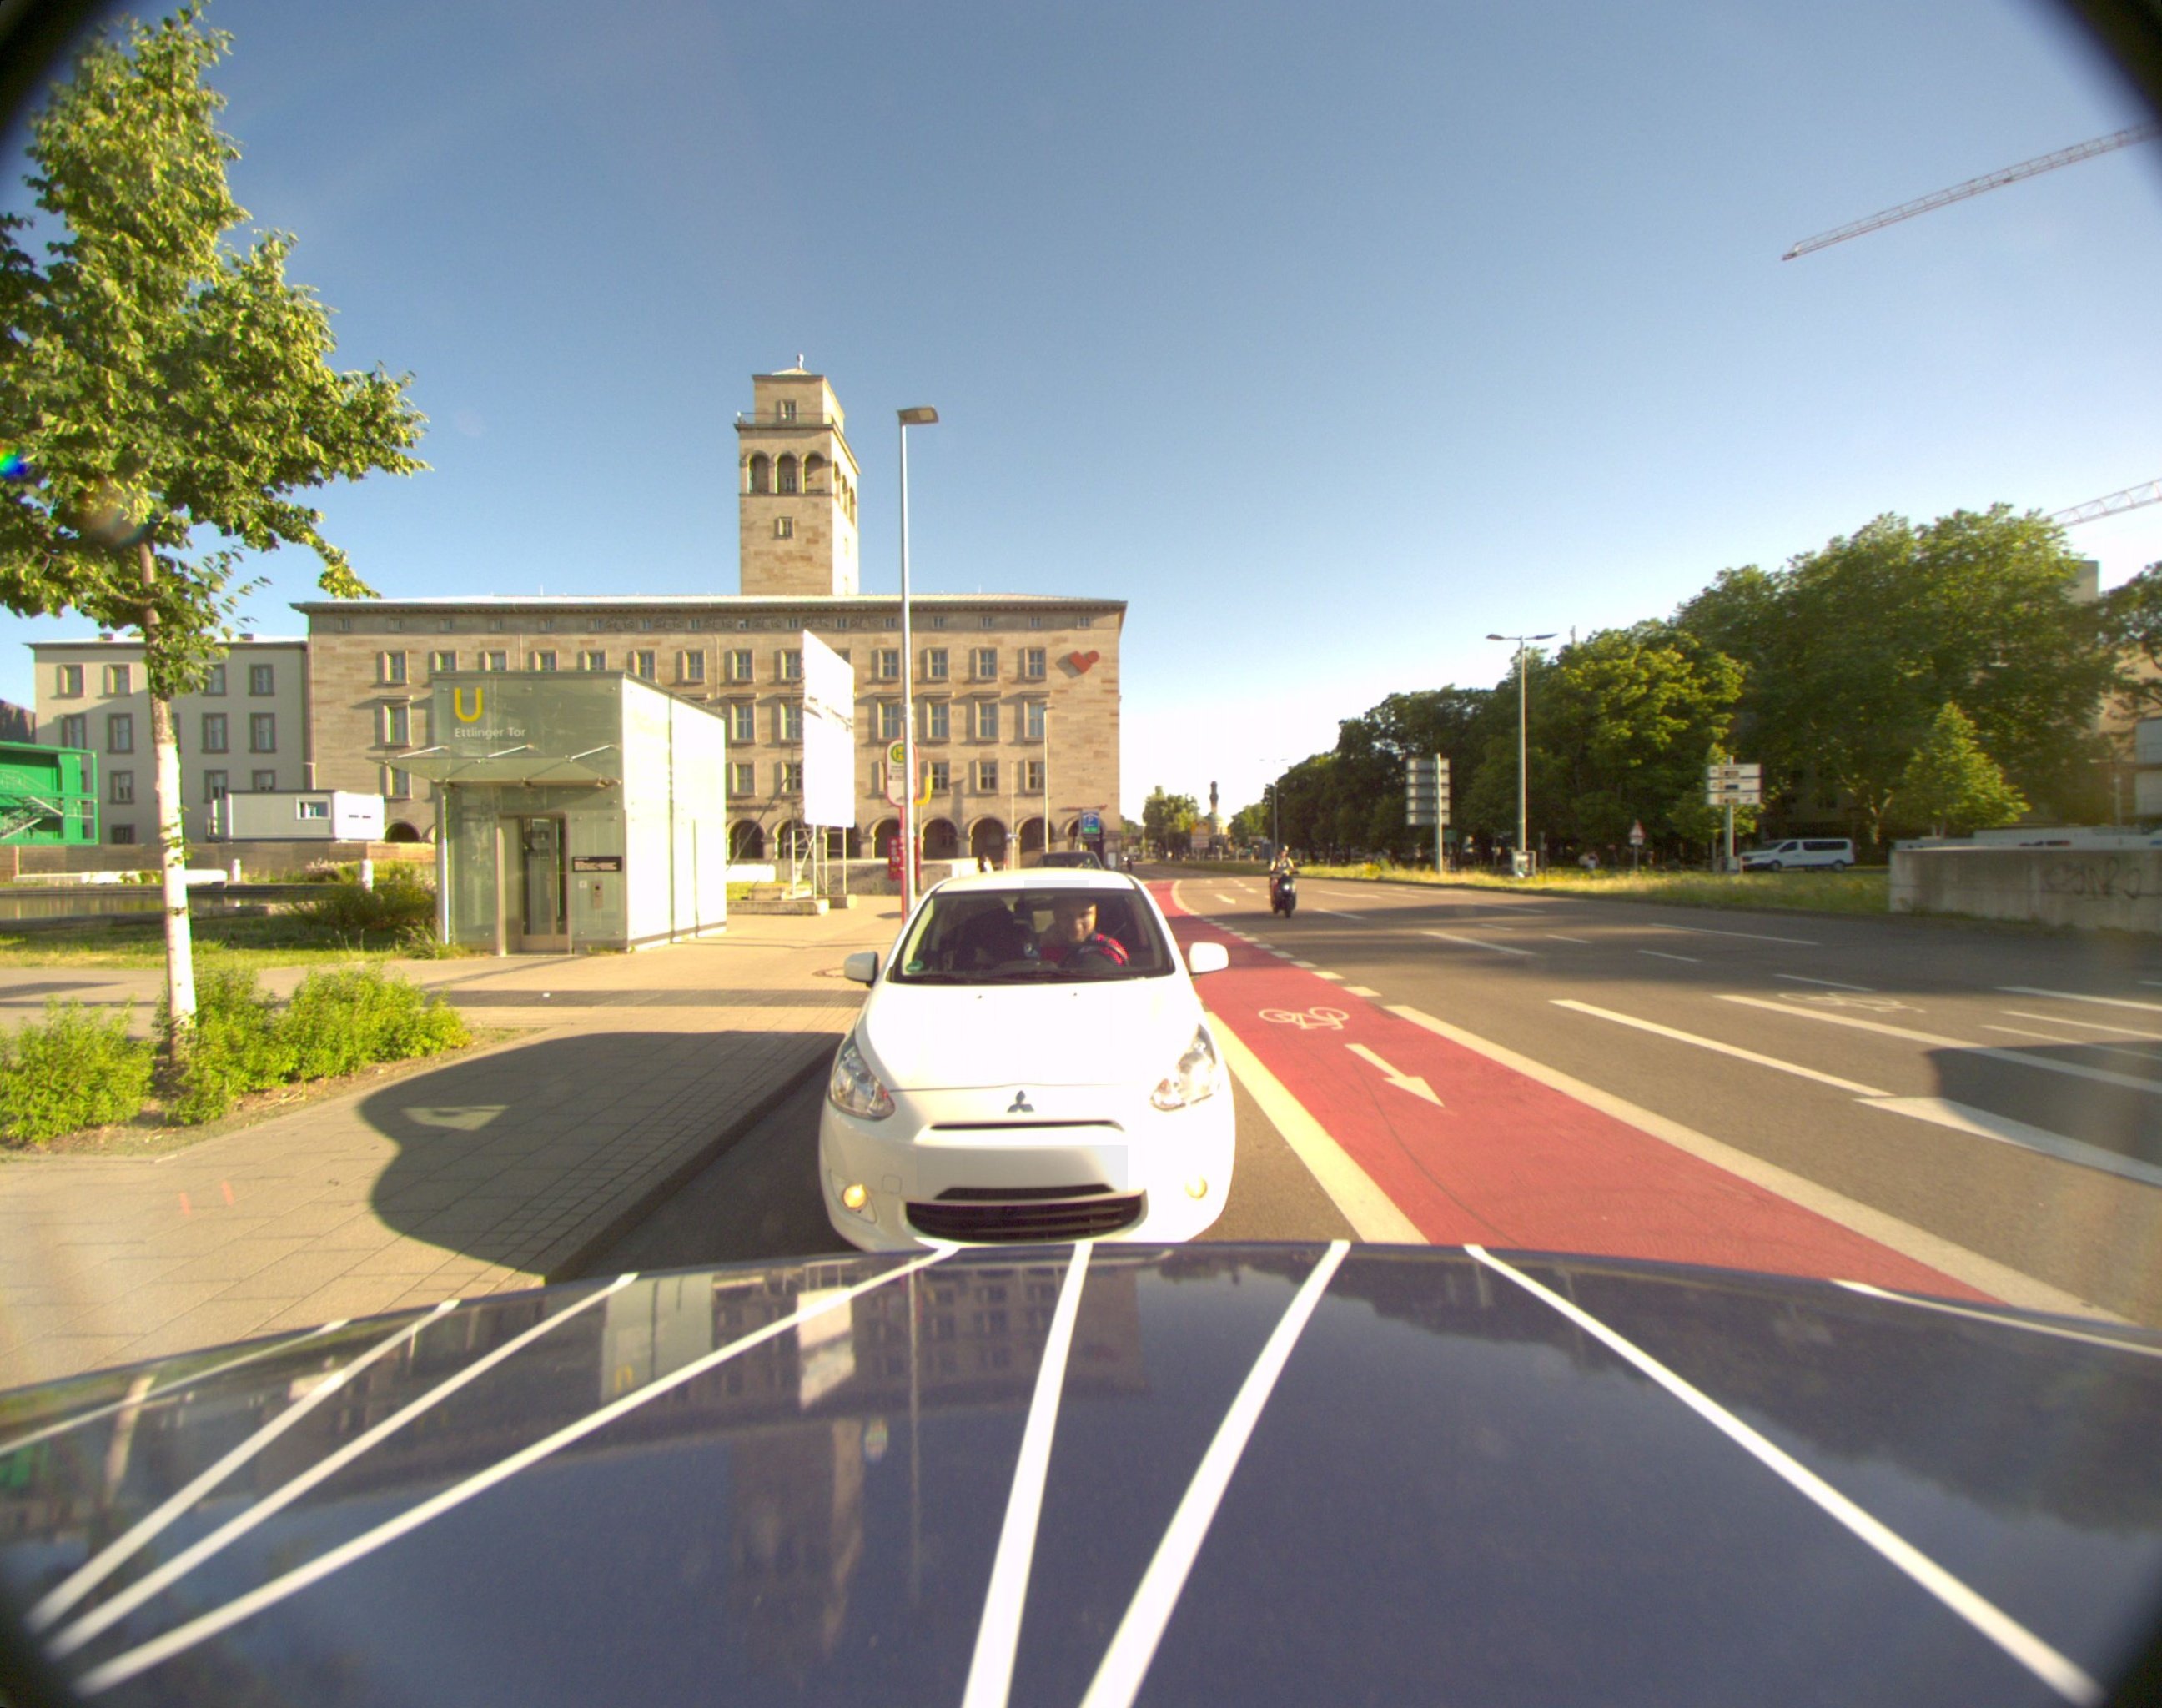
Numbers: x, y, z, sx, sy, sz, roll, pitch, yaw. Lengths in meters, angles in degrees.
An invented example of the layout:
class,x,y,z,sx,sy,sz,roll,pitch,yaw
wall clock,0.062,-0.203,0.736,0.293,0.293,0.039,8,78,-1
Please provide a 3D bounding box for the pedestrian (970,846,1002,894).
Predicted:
class,x,y,z,sx,sy,sz,roll,pitch,yaw
pedestrian,-3.721,0.635,29.952,0.942,1.776,1.072,-5,1,1

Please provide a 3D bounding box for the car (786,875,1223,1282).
class,x,y,z,sx,sy,sz,roll,pitch,yaw
car,-0.161,0.951,4.921,1.678,1.440,3.890,-2,0,4

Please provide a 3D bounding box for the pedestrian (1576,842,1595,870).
class,x,y,z,sx,sy,sz,roll,pitch,yaw
pedestrian,31.964,0.116,48.176,0.707,1.715,0.762,-1,1,1

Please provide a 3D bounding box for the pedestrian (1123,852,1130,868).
class,x,y,z,sx,sy,sz,roll,pitch,yaw
pedestrian,5.332,0.676,88.879,0.704,1.843,0.828,-1,1,0

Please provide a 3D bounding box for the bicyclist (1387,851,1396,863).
class,x,y,z,sx,sy,sz,roll,pitch,yaw
bicyclist,32.210,0.307,78.819,0.610,1.274,0.715,-1,1,-1

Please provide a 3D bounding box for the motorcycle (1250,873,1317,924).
class,x,y,z,sx,sy,sz,roll,pitch,yaw
motorcycle,4.636,0.990,17.583,0.974,1.008,2.267,-2,0,2

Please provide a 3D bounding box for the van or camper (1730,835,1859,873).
class,x,y,z,sx,sy,sz,roll,pitch,yaw
van or camper,42.245,-0.021,45.076,5.649,2.002,1.948,-2,1,2

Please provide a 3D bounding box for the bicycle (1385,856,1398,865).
class,x,y,z,sx,sy,sz,roll,pitch,yaw
bicycle,32.213,0.682,78.827,0.610,0.838,1.745,-1,0,-1

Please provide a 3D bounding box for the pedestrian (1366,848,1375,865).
class,x,y,z,sx,sy,sz,roll,pitch,yaw
pedestrian,32.346,0.256,84.957,0.628,1.837,0.925,-1,1,-1

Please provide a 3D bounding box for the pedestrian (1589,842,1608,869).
class,x,y,z,sx,sy,sz,roll,pitch,yaw
pedestrian,32.897,0.112,48.294,0.665,1.715,0.762,-1,1,1

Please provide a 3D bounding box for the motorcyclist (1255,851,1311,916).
class,x,y,z,sx,sy,sz,roll,pitch,yaw
motorcyclist,4.624,0.653,17.452,0.974,1.405,1.059,-2,1,2

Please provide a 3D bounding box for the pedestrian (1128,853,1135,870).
class,x,y,z,sx,sy,sz,roll,pitch,yaw
pedestrian,5.356,0.769,80.602,0.704,1.843,0.828,-1,1,0

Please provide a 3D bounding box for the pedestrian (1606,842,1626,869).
class,x,y,z,sx,sy,sz,roll,pitch,yaw
pedestrian,34.027,0.112,48.335,0.707,1.715,0.762,-1,1,4

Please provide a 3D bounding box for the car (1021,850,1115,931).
class,x,y,z,sx,sy,sz,roll,pitch,yaw
car,-0.252,0.765,18.358,1.998,1.709,4.326,-1,0,1

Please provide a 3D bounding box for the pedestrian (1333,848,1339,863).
class,x,y,z,sx,sy,sz,roll,pitch,yaw
pedestrian,32.691,0.204,97.414,0.568,1.837,0.734,-1,1,-1
